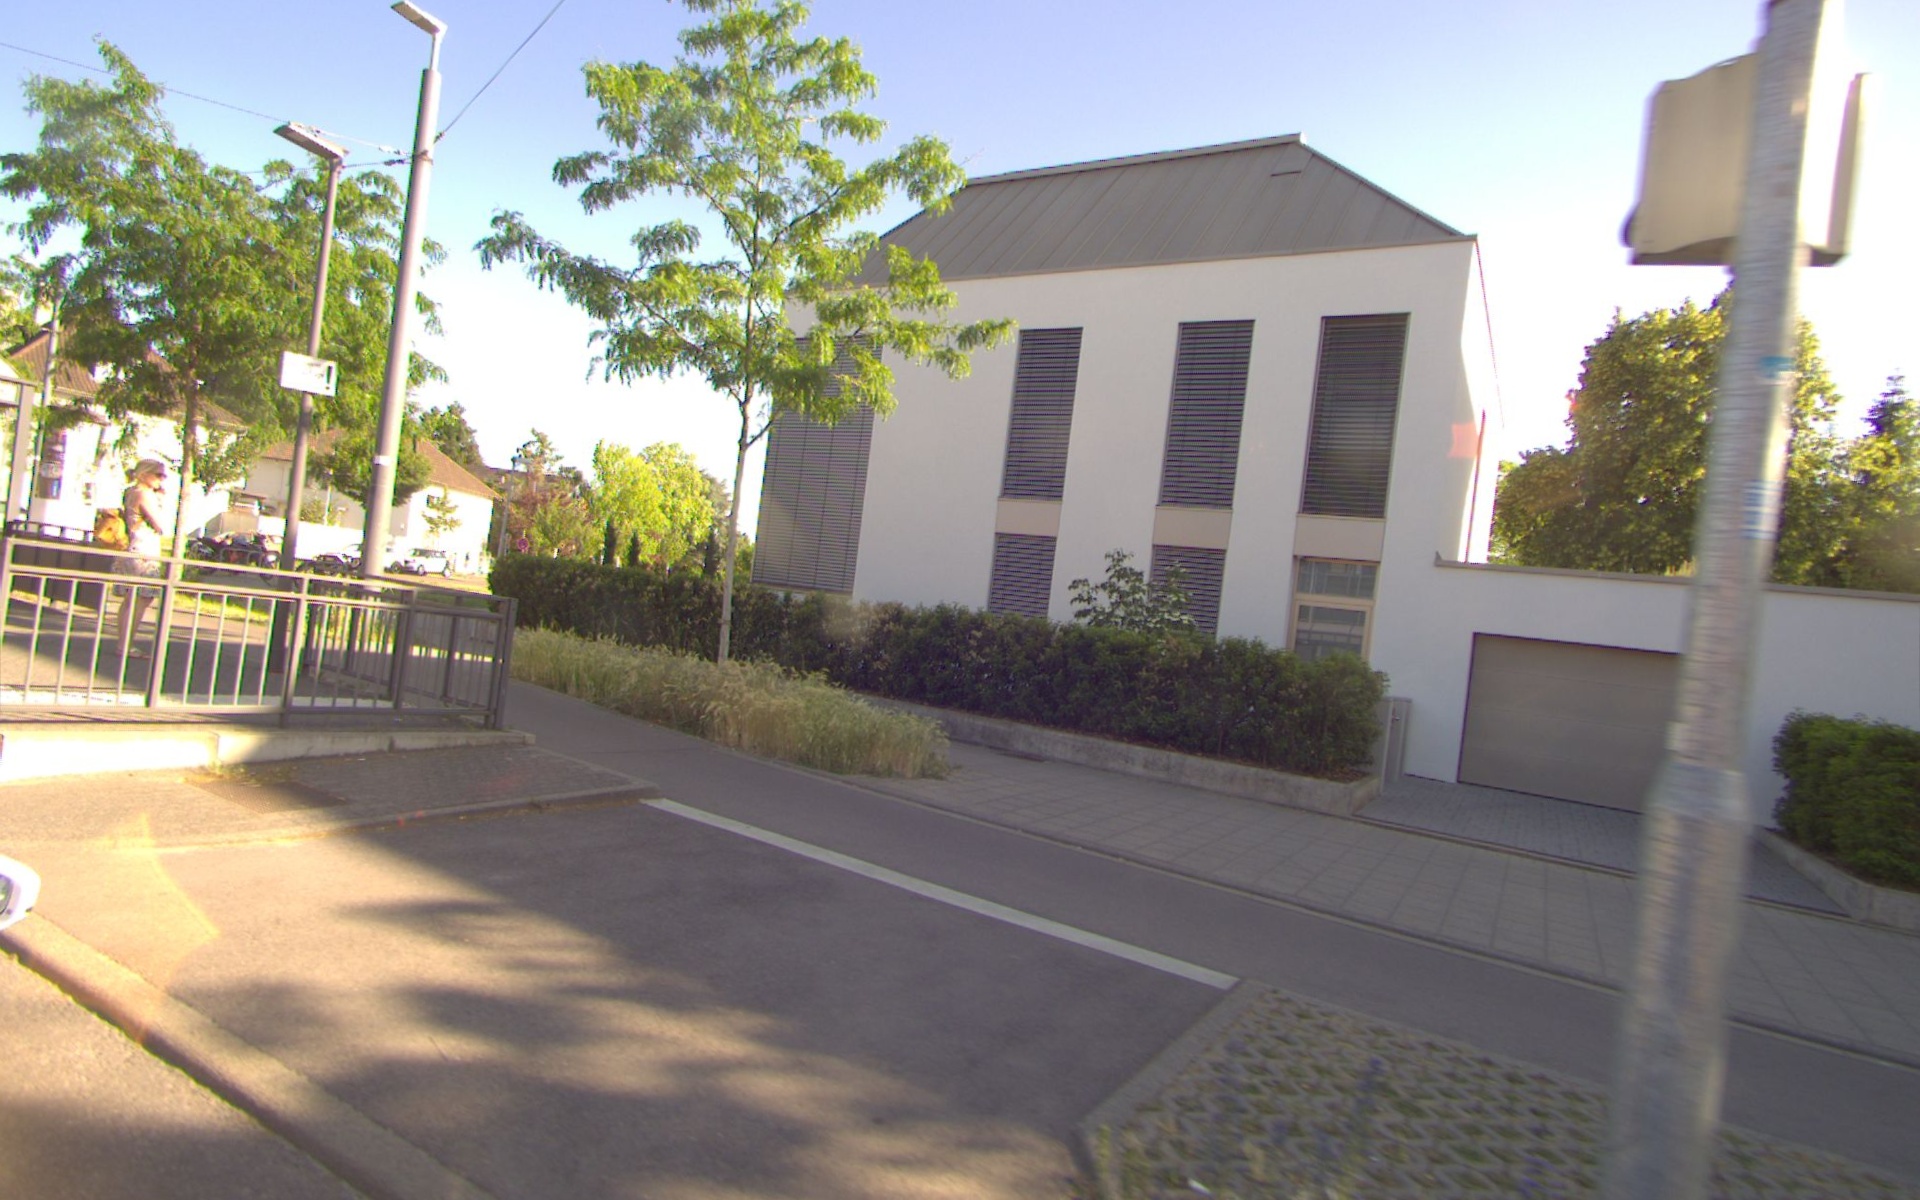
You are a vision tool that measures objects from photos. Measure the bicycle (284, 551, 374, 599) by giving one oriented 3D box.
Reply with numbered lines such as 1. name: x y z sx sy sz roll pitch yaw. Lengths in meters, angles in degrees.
1. bicycle: -15.819 -0.622 25.277 0.482 0.990 1.903 7 -1 24

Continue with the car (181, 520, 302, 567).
1. car: -33.979 -2.646 47.685 1.949 1.525 4.170 7 -2 32

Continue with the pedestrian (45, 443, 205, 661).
1. pedestrian: -7.088 -0.396 8.552 0.679 1.724 0.673 7 -2 30

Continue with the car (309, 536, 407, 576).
1. car: -31.803 -2.299 53.271 1.944 1.525 4.181 7 -2 14

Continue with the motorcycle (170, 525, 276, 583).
1. motorcycle: -20.101 -1.237 27.485 0.846 1.289 2.083 7 -1 24

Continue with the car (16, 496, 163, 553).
1. car: -36.768 -3.160 42.601 1.948 1.661 4.172 7 -2 29

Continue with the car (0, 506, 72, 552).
1. car: -36.837 -2.860 38.131 1.958 1.483 4.592 4 -3 45

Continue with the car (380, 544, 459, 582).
1. car: -31.244 -2.113 58.300 1.962 1.591 4.006 8 -2 6

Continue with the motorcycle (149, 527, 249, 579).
1. motorcycle: -21.400 -1.299 28.344 0.846 1.171 2.004 7 -1 24

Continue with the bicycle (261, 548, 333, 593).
1. bicycle: -17.084 -0.740 25.963 0.408 0.990 1.474 7 -1 24
